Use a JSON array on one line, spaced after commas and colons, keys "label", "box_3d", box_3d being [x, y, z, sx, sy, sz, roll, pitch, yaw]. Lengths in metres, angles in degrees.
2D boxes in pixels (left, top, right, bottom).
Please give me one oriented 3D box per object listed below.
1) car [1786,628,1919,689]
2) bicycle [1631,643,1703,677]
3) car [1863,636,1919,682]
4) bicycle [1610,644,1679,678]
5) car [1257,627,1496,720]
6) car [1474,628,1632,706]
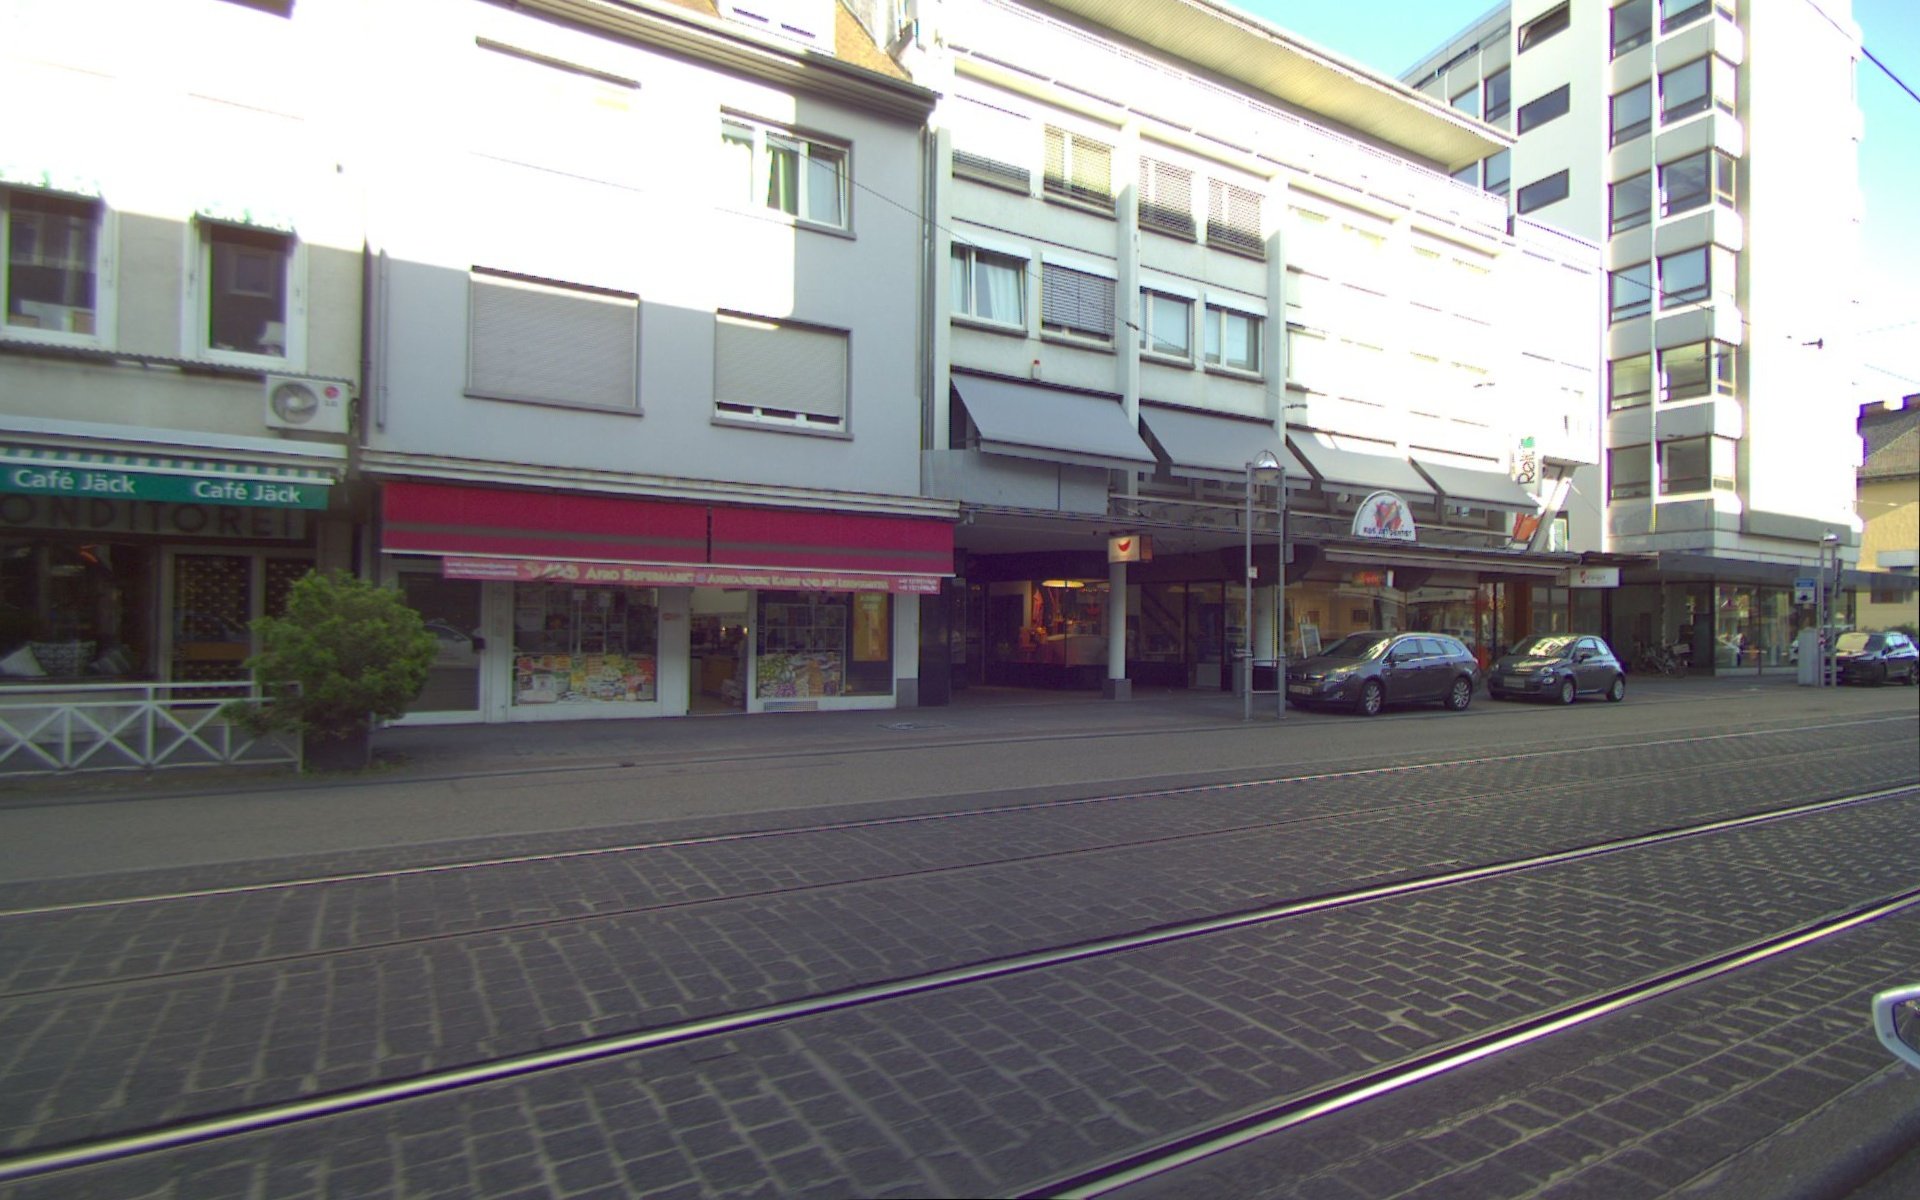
[{"label": "car", "box_3d": [28.103, 1.792, 31.445, 4.601, 1.701, 1.969, 2, 0, -30]}, {"label": "bicycle", "box_3d": [23.431, 1.972, 33.331, 0.418, 1.012, 1.928, 2, 0, -29]}, {"label": "car", "box_3d": [33.058, 2.018, 34.465, 4.605, 1.440, 1.878, 2, 0, -32]}, {"label": "bicycle", "box_3d": [22.818, 2.013, 33.511, 0.376, 1.012, 1.928, 2, 0, -29]}, {"label": "car", "box_3d": [8.168, 1.372, 19.564, 4.795, 1.544, 1.729, 2, 0, -30]}, {"label": "car", "box_3d": [13.259, 1.444, 22.414, 3.551, 1.544, 1.591, 2, 1, -33]}]
